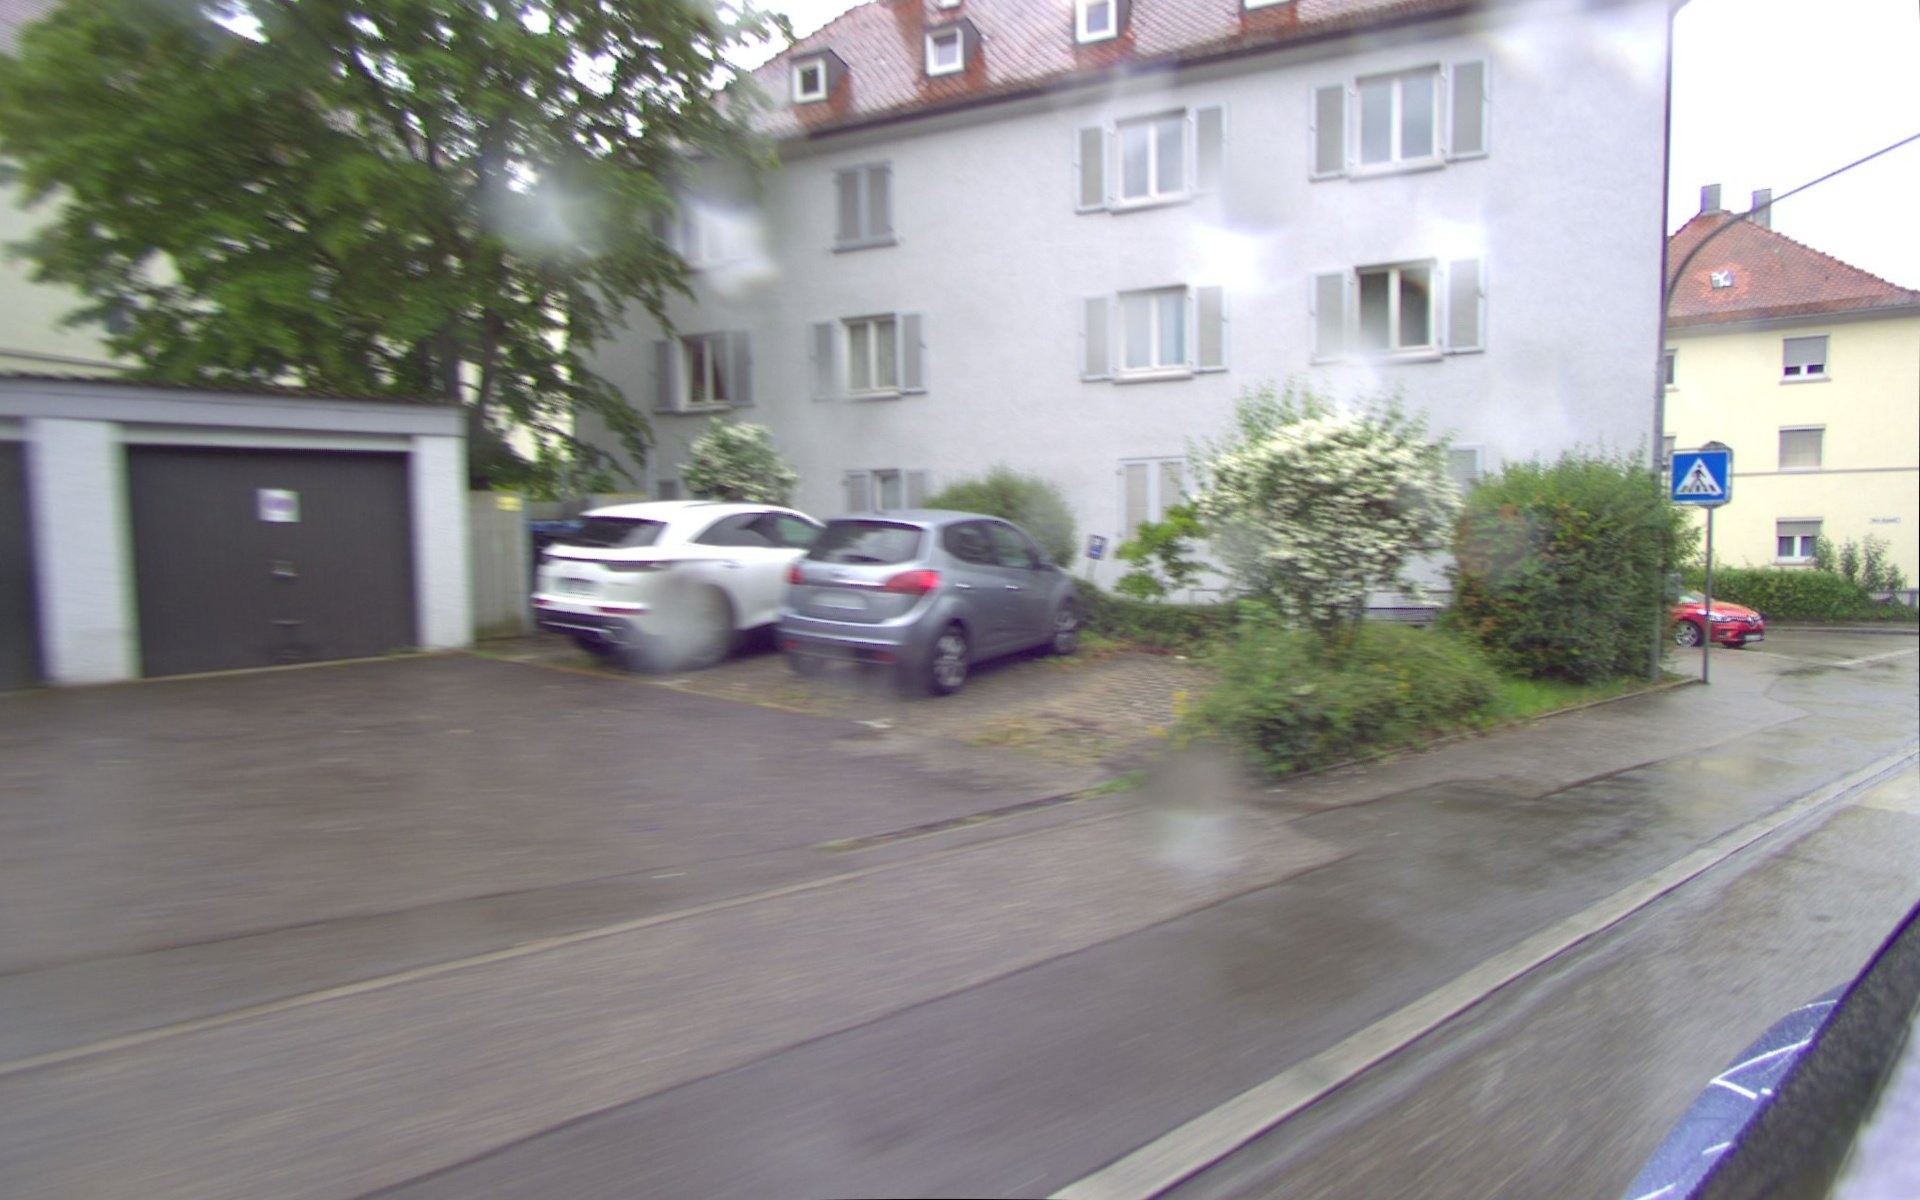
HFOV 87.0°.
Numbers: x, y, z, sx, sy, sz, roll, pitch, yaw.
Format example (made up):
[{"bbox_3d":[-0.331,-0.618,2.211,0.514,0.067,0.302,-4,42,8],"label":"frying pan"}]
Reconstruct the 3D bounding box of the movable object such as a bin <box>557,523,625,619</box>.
[{"bbox_3d":[-5.053,-0.391,13.844,0.710,1.260,0.725,0,1,-35],"label":"movable object such as a bin"}]

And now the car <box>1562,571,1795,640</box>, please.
[{"bbox_3d":[16.304,0.089,23.233,1.688,1.425,4.102,-1,0,-21],"label":"car"}]

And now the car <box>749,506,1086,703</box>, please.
[{"bbox_3d":[-0.245,-0.144,10.328,1.710,1.581,3.759,4,6,29],"label":"car"}]

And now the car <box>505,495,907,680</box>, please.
[{"bbox_3d":[-2.565,-0.311,11.194,1.785,1.611,4.208,5,7,34],"label":"car"}]
